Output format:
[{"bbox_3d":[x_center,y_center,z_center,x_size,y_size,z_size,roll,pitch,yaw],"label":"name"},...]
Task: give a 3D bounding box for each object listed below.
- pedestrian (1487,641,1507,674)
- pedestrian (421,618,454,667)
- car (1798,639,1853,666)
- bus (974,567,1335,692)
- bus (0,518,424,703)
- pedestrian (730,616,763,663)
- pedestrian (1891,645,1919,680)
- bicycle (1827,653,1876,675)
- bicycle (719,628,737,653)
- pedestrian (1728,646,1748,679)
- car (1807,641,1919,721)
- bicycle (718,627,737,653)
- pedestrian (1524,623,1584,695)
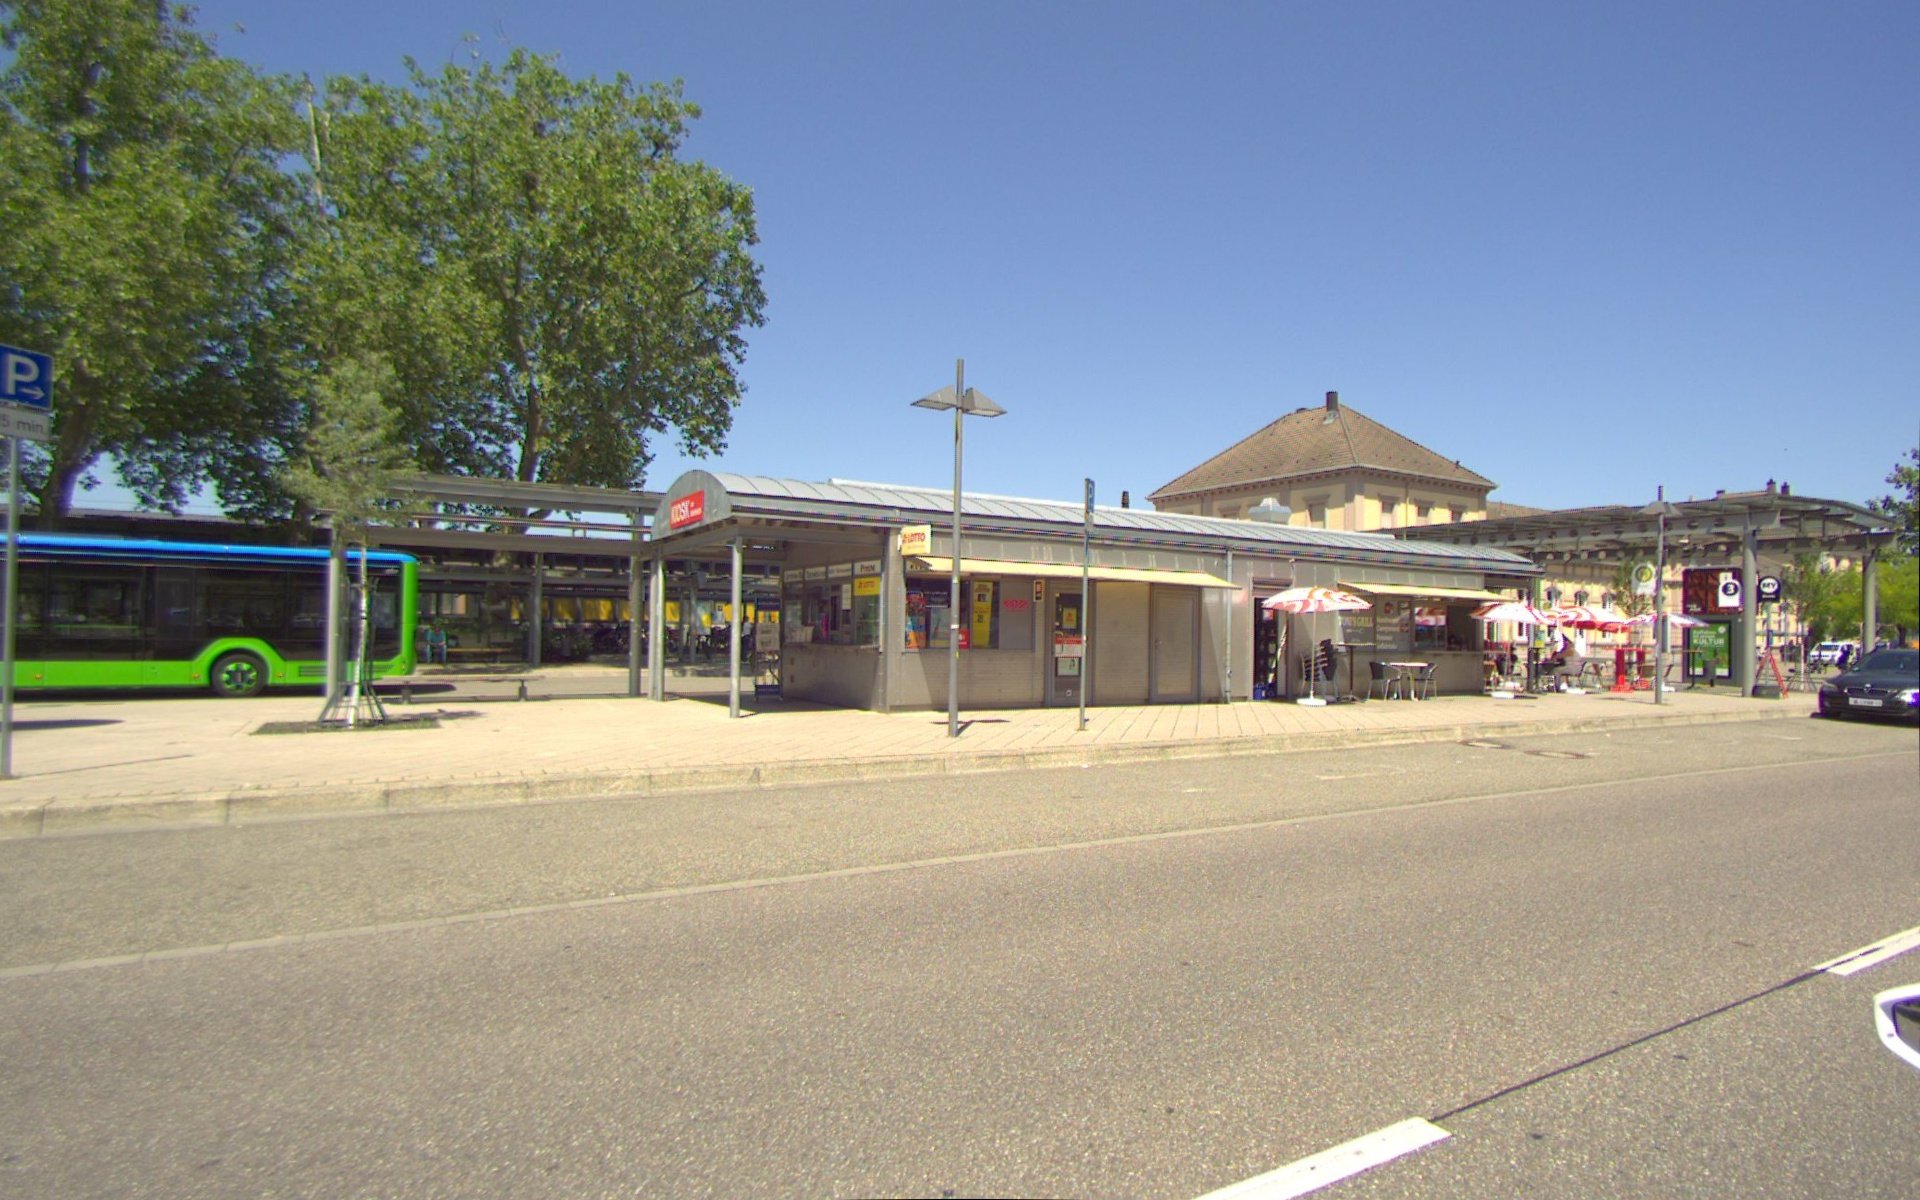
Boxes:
[{"bbox_3d":[16.623,1.784,31.097,0.366,0.985,0.424,3,-3,-18],"label":"pedestrian"},{"bbox_3d":[-16.115,1.309,31.001,0.813,1.483,0.601,2,-2,-34],"label":"pedestrian"},{"bbox_3d":[64.727,3.900,75.117,4.721,1.942,1.742,2,-2,-31],"label":"car"},{"bbox_3d":[6.211,0.952,30.546,11.705,3.275,2.952,2,-2,-30],"label":"bus"},{"bbox_3d":[-18.102,0.242,20.929,12.082,3.573,2.151,2,-1,-31],"label":"bus"},{"bbox_3d":[-7.634,1.418,35.875,0.809,1.638,0.765,0,-3,40],"label":"pedestrian"},{"bbox_3d":[47.118,3.113,50.107,0.708,1.681,0.761,3,-2,-14],"label":"pedestrian"},{"bbox_3d":[43.995,3.156,49.576,1.770,1.044,0.487,0,-2,37],"label":"bicycle"},{"bbox_3d":[-10.384,1.797,44.971,0.381,1.108,1.375,4,-3,-29],"label":"bicycle"},{"bbox_3d":[41.794,3.353,53.955,0.643,1.695,0.632,2,-2,13],"label":"pedestrian"},{"bbox_3d":[19.618,1.634,20.895,4.733,1.498,1.709,2,-2,-32],"label":"car"},{"bbox_3d":[-10.082,1.741,43.571,0.382,1.108,1.375,4,-3,-30],"label":"bicycle"},{"bbox_3d":[15.869,1.577,26.828,1.123,1.851,0.800,3,-2,-14],"label":"pedestrian"}]
